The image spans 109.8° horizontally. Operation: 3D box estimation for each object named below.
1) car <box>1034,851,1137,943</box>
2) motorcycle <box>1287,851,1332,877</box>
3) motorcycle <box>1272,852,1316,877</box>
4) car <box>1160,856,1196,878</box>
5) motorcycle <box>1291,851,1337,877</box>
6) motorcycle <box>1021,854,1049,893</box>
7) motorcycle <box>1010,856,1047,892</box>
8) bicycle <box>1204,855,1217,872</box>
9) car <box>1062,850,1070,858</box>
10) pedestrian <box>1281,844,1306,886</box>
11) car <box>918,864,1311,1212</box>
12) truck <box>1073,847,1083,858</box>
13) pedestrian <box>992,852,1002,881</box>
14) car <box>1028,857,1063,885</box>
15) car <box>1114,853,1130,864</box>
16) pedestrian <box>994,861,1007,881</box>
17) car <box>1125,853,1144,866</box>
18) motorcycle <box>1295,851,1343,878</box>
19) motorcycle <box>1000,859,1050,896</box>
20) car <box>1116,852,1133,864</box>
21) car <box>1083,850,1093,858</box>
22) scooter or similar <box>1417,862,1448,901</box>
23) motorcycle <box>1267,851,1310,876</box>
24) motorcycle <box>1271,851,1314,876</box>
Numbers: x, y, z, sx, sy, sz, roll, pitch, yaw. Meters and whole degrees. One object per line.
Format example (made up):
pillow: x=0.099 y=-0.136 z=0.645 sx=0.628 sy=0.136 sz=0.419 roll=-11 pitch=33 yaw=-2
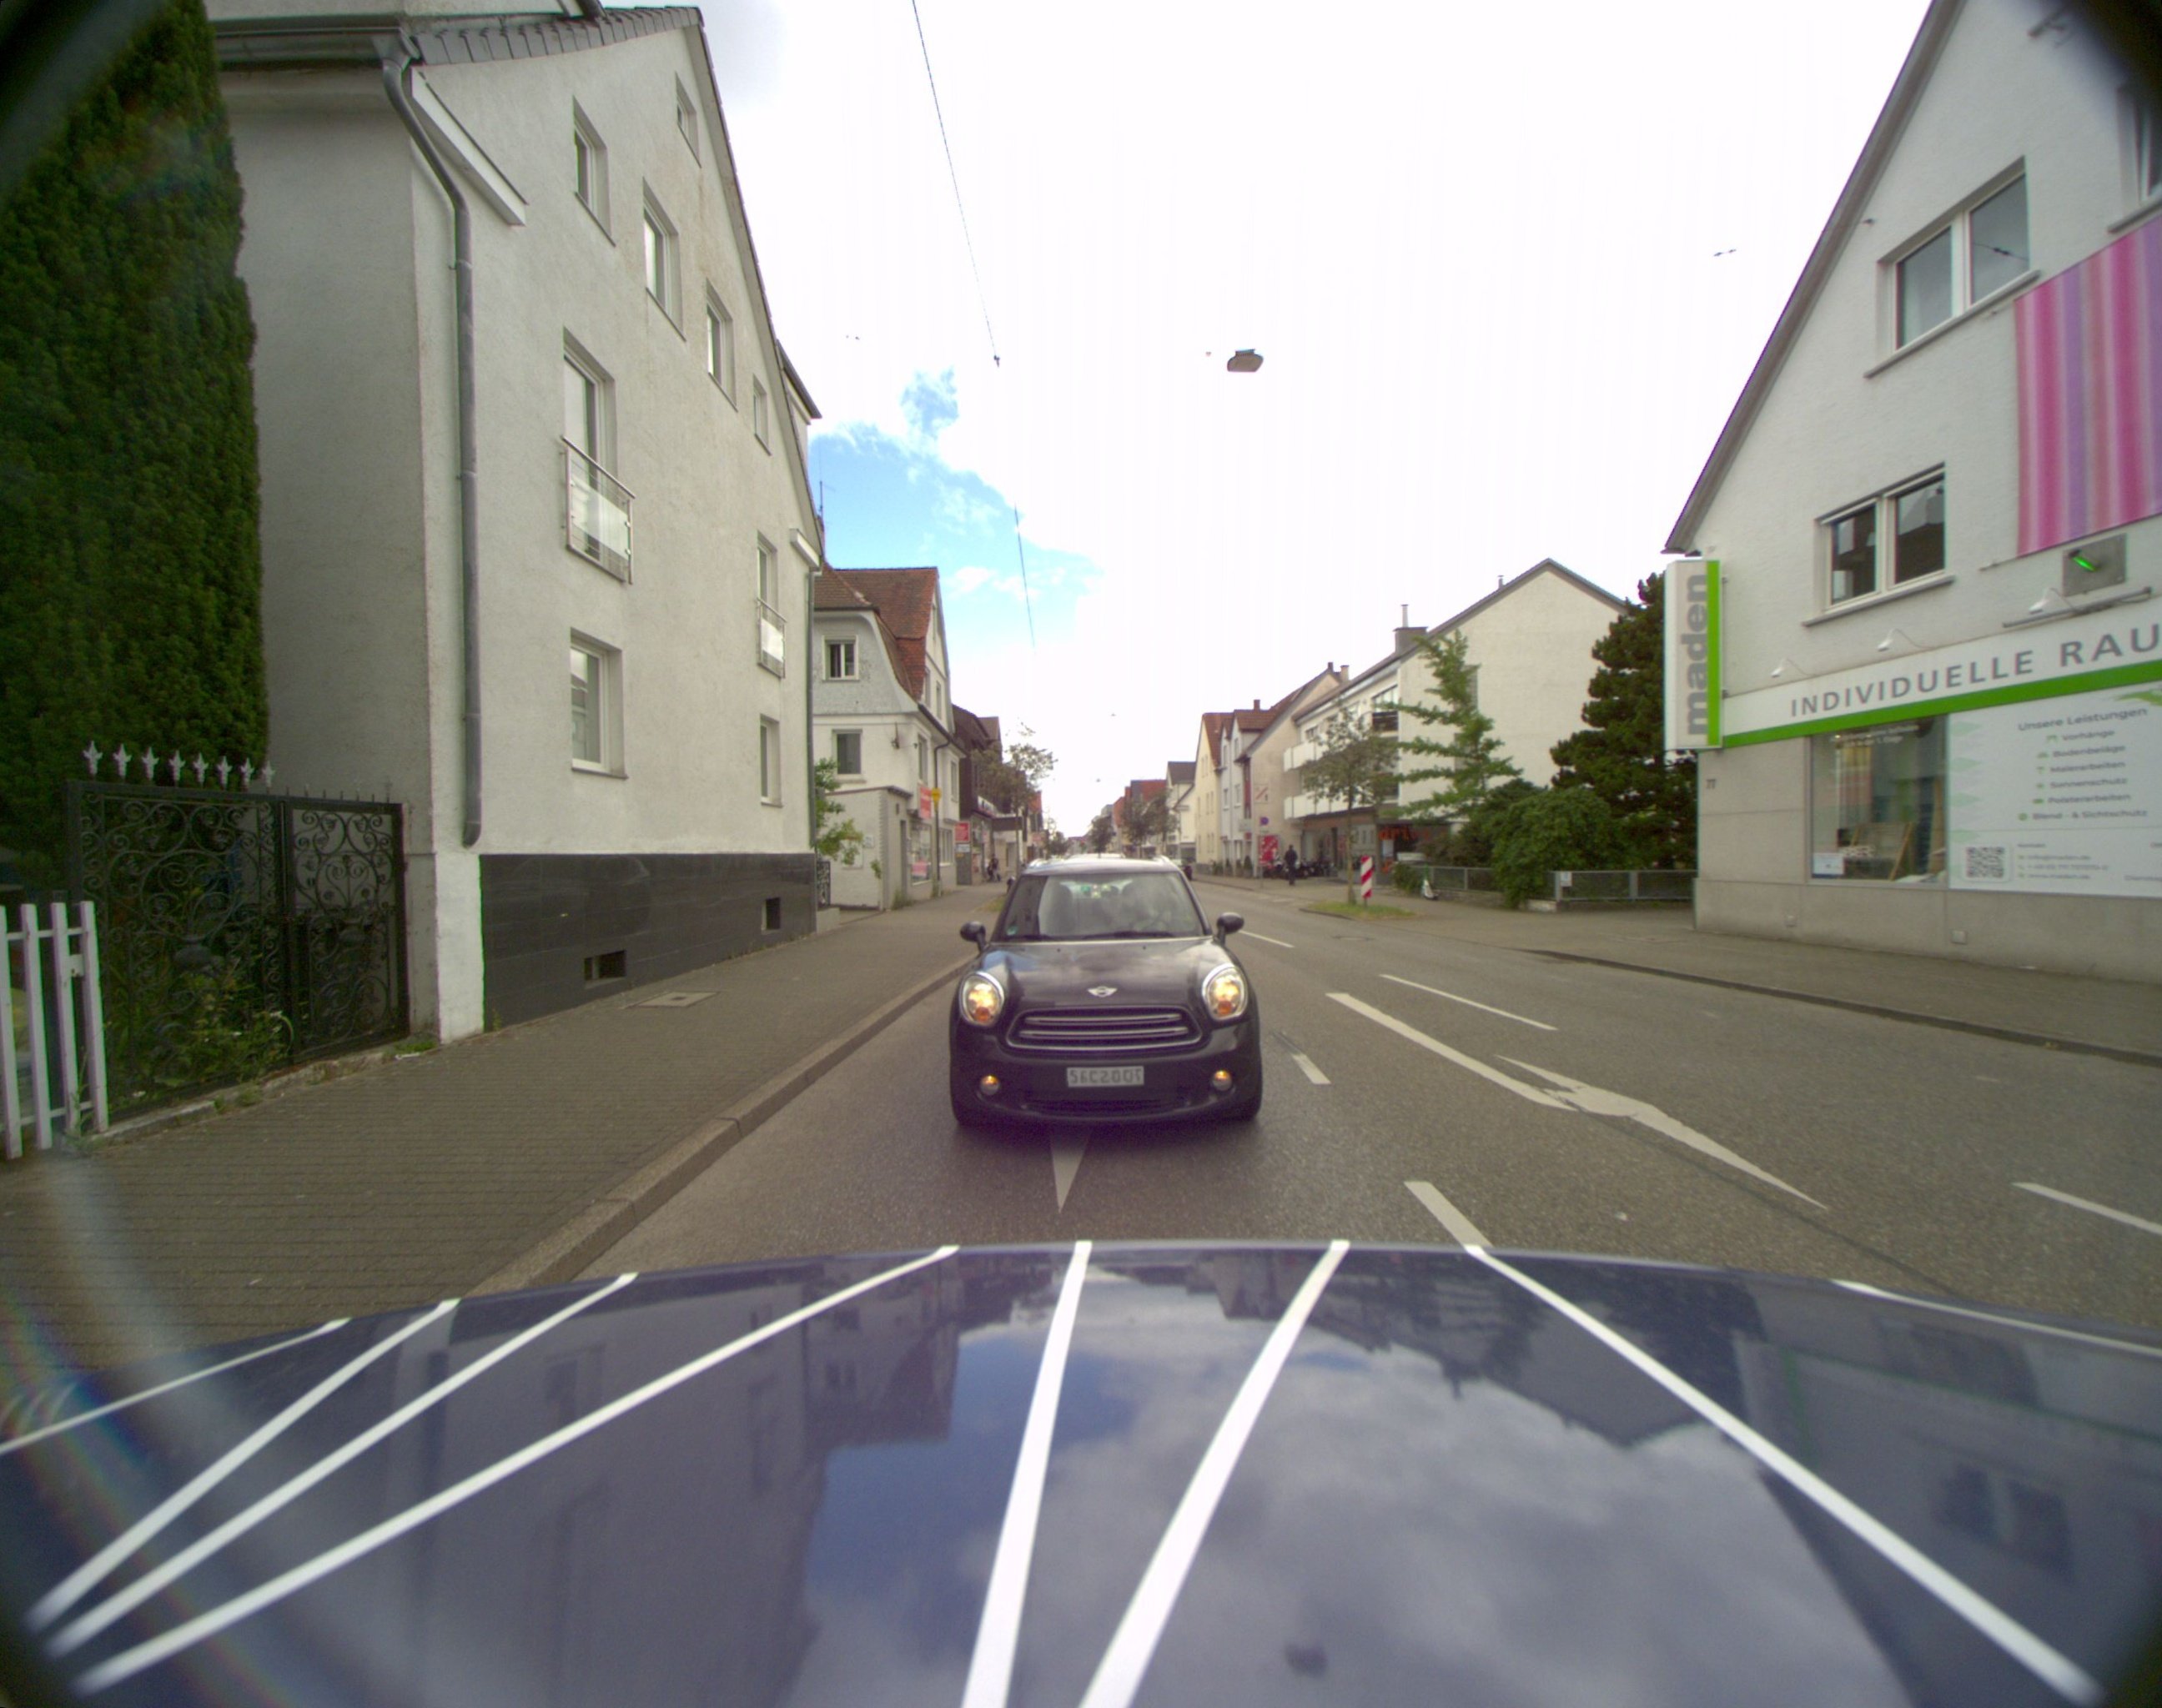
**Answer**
car: x=0.097 y=0.789 z=16.354 sx=1.855 sy=1.615 sz=4.736 roll=-2 pitch=0 yaw=0
motorcycle: x=12.464 y=0.538 z=41.524 sx=2.231 sy=1.258 sz=0.613 roll=-4 pitch=1 yaw=-2
motorcycle: x=11.866 y=0.564 z=42.342 sx=2.231 sy=1.258 sz=0.699 roll=-4 pitch=1 yaw=-2
car: x=6.459 y=0.834 z=50.922 sx=1.792 sy=1.409 sz=4.340 roll=0 pitch=0 yaw=-1
motorcycle: x=12.477 y=0.535 z=40.731 sx=2.231 sy=1.258 sz=0.613 roll=-4 pitch=1 yaw=-2
motorcycle: x=-1.892 y=0.793 z=31.714 sx=0.672 sy=1.516 sz=2.599 roll=-2 pitch=0 yaw=6
motorcycle: x=-2.243 y=0.845 z=32.922 sx=0.648 sy=1.432 sz=2.472 roll=-2 pitch=1 yaw=19
bicycle: x=9.428 y=0.718 z=55.468 sx=0.515 sy=1.189 sz=2.023 roll=-2 pitch=0 yaw=-1
car: x=-4.007 y=0.004 z=206.241 sx=2.059 sy=2.002 sz=4.186 roll=-2 pitch=0 yaw=-1
pedestrian: x=9.755 y=0.488 z=34.886 sx=0.753 sy=1.838 sz=1.019 roll=-5 pitch=1 yaw=0
car: x=0.088 y=0.916 z=6.036 sx=1.855 sy=1.527 sz=4.735 roll=-2 pitch=0 yaw=-2
truck: x=-0.865 y=-0.481 z=219.276 sx=2.800 sy=3.020 sz=8.250 roll=-2 pitch=0 yaw=0
pedestrian: x=-5.088 y=0.754 z=46.011 sx=0.644 sy=1.730 sz=0.742 roll=0 pitch=1 yaw=-6
car: x=-1.968 y=0.941 z=42.913 sx=1.830 sy=1.400 sz=4.564 roll=-2 pitch=0 yaw=-1
car: x=5.490 y=0.630 z=102.142 sx=1.716 sy=1.389 sz=3.899 roll=-2 pitch=0 yaw=-2
pedestrian: x=-4.936 y=1.036 z=46.821 sx=0.742 sy=1.204 sz=0.644 roll=0 pitch=1 yaw=-1
car: x=6.092 y=0.612 z=86.526 sx=1.716 sy=1.389 sz=3.899 roll=-2 pitch=0 yaw=-2
motorcycle: x=12.486 y=0.529 z=39.907 sx=2.231 sy=1.258 sz=0.613 roll=-4 pitch=1 yaw=-2
motorcycle: x=-2.173 y=0.898 z=29.366 sx=0.777 sy=1.373 sz=2.237 roll=-2 pitch=1 yaw=-37
car: x=5.560 y=0.511 z=97.151 sx=1.716 sy=1.389 sz=3.899 roll=-2 pitch=0 yaw=-2
car: x=1.597 y=-0.004 z=174.399 sx=1.855 sy=1.932 sz=4.490 roll=1 pitch=0 yaw=-2
scooter or similar: x=10.375 y=0.795 z=22.427 sx=0.340 sy=1.105 sz=1.180 roll=-2 pitch=1 yaw=0
motorcycle: x=11.980 y=0.541 z=43.875 sx=2.231 sy=1.258 sz=0.613 roll=-4 pitch=1 yaw=-2
motorcycle: x=12.007 y=0.544 z=43.193 sx=2.231 sy=1.258 sz=0.613 roll=-4 pitch=1 yaw=-2
